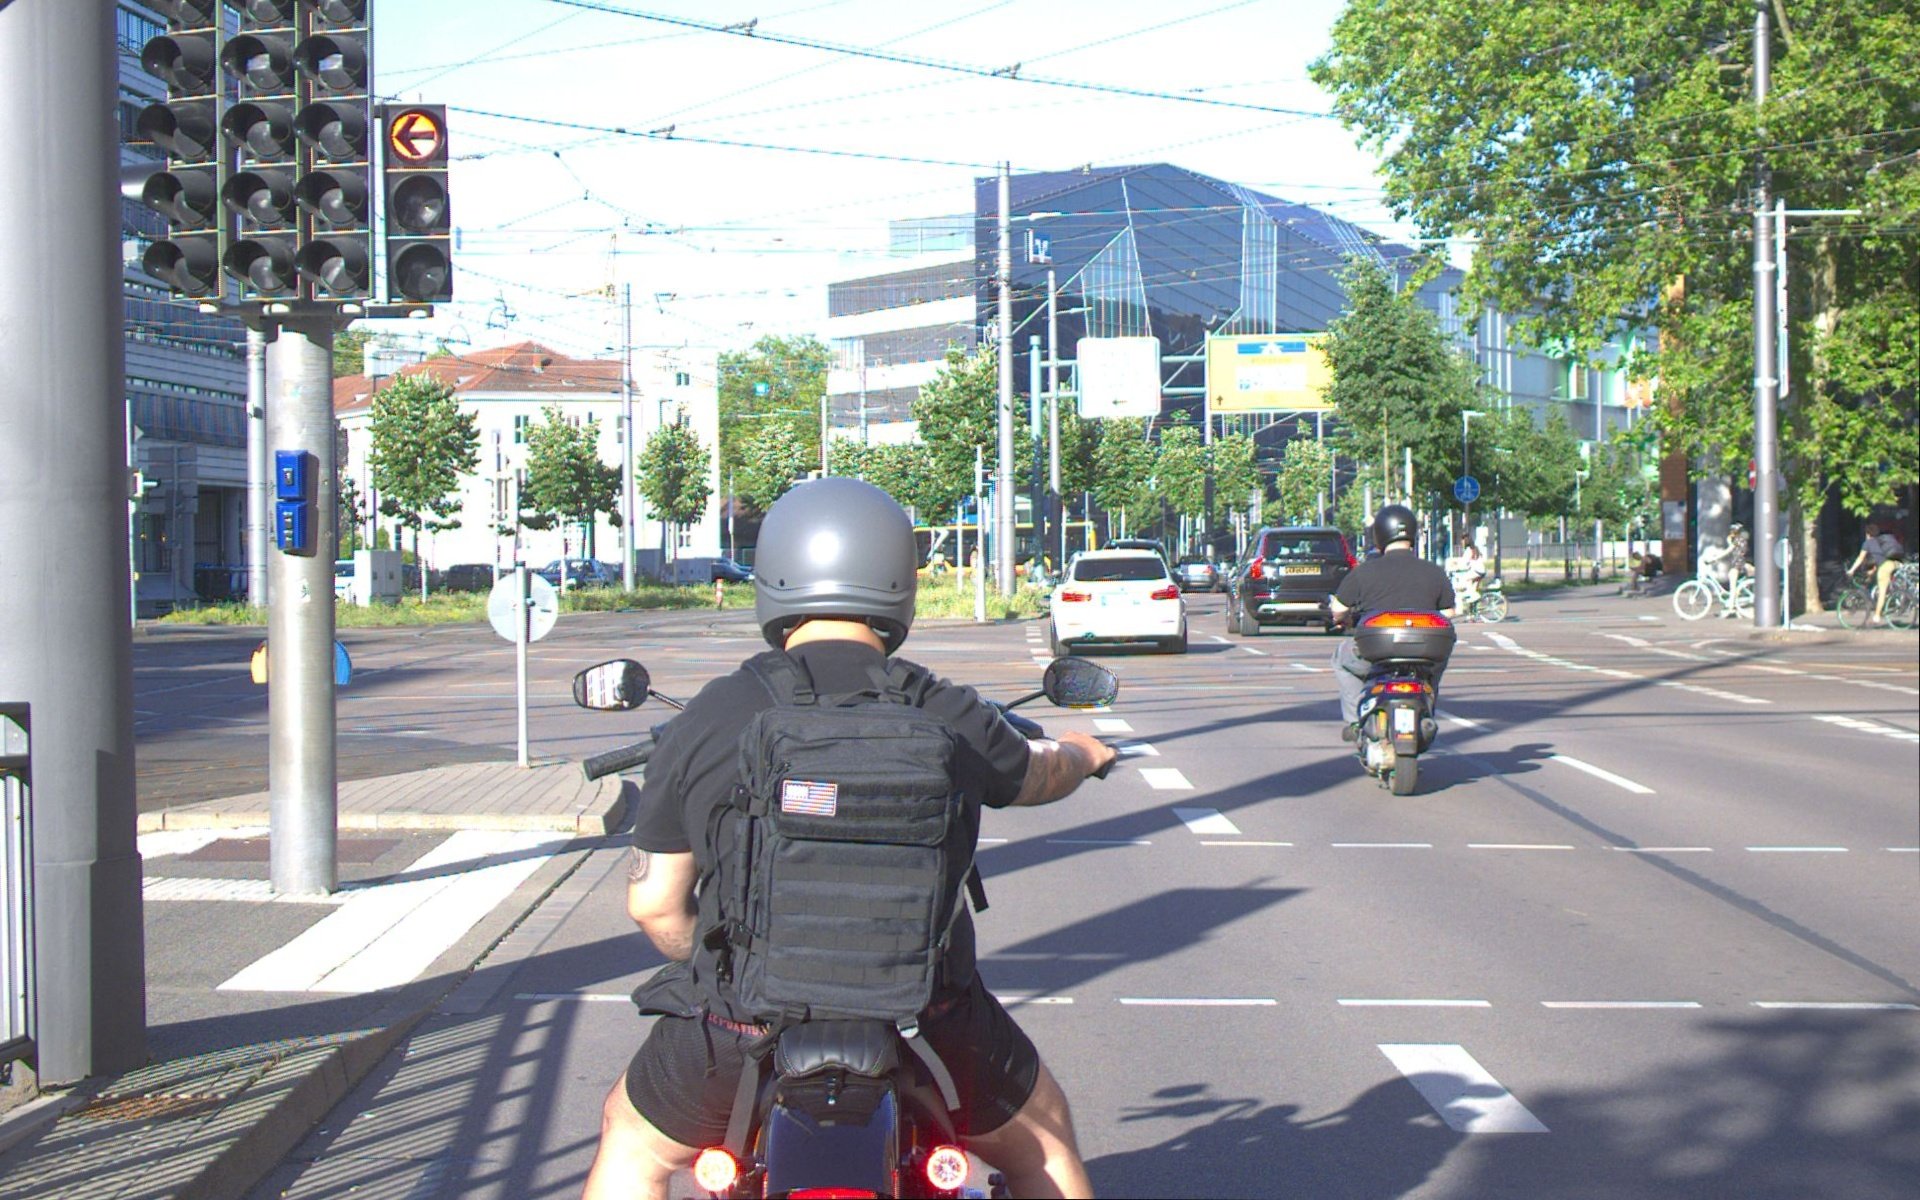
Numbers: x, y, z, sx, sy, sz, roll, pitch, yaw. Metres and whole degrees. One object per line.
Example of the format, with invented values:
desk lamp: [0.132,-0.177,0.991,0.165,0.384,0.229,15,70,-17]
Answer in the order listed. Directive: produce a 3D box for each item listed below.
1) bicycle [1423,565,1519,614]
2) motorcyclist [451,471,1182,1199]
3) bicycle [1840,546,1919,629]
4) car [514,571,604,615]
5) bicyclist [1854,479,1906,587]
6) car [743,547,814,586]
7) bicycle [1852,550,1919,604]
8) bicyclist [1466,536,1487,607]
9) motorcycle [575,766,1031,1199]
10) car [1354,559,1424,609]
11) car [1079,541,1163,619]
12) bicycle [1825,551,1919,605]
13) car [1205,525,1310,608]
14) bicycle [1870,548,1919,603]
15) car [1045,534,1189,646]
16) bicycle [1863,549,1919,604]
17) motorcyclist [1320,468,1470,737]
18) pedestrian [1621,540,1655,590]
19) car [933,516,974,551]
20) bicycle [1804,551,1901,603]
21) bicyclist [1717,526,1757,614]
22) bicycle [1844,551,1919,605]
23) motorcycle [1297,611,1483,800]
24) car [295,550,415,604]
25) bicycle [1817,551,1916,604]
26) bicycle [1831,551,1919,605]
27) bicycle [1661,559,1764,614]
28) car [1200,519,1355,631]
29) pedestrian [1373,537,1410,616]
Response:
bicycle: [9.949,-0.198,66.920,1.826,0.922,0.357,1,0,8]
motorcyclist: [-0.206,0.606,5.316,1.030,1.588,0.873,0,1,-1]
bicycle: [15.507,-0.211,57.968,0.726,1.362,2.917,1,0,3]
car: [-13.608,-0.239,116.804,1.826,1.426,4.239,1,0,11]
bicyclist: [15.514,-1.118,57.966,0.697,1.802,0.728,1,0,4]
car: [-7.226,-1.320,137.316,1.750,1.519,3.997,1,0,13]
bicycle: [18.457,-0.439,67.338,1.880,1.043,0.360,1,0,-1]
bicyclist: [10.056,-0.556,66.906,0.381,1.368,0.345,1,0,7]
motorcycle: [-0.227,0.872,5.689,0.600,1.032,2.234,1,1,-1]
car: [14.741,-0.545,117.980,1.804,1.672,4.038,1,0,16]
car: [3.610,-0.446,77.287,1.803,1.672,4.040,1,0,2]
bicycle: [18.361,-0.450,69.012,1.880,1.043,0.360,1,1,-1]
car: [6.023,-0.710,70.052,1.731,1.593,4.041,1,1,0]
bicycle: [18.403,-0.457,65.740,1.880,1.043,0.360,1,0,-1]
car: [2.131,-0.145,47.677,1.731,1.452,4.418,1,0,-1]
bicycle: [18.463,-0.448,66.524,1.880,1.043,0.360,1,0,-1]
motorcyclist: [2.594,0.012,20.545,0.796,1.574,0.529,1,0,-1]
pedestrian: [17.901,-0.915,90.772,0.819,1.309,0.637,1,0,9]
car: [-0.387,-3.931,204.759,1.994,2.007,4.299,1,0,5]
bicycle: [18.341,-0.474,70.663,1.880,1.043,0.360,1,1,-1]
bicyclist: [14.742,-0.566,65.204,0.688,1.667,0.540,0,0,19]
bicycle: [18.462,-0.430,67.896,1.880,1.043,0.360,1,1,-1]
motorcycle: [2.578,0.607,20.852,0.804,1.047,2.376,1,0,0]
car: [-16.922,-0.653,96.385,1.826,1.425,4.528,0,1,11]
bicycle: [18.323,-0.460,69.512,1.880,1.043,0.360,1,1,-1]
bicycle: [18.359,-0.435,68.526,1.880,1.043,0.360,1,0,-1]
bicycle: [14.307,-0.251,65.341,1.872,1.040,0.536,0,0,19]
car: [5.157,-0.446,56.300,1.731,1.726,4.613,1,2,-5]
pedestrian: [8.610,-0.464,68.598,0.587,1.551,0.489,1,0,-8]
